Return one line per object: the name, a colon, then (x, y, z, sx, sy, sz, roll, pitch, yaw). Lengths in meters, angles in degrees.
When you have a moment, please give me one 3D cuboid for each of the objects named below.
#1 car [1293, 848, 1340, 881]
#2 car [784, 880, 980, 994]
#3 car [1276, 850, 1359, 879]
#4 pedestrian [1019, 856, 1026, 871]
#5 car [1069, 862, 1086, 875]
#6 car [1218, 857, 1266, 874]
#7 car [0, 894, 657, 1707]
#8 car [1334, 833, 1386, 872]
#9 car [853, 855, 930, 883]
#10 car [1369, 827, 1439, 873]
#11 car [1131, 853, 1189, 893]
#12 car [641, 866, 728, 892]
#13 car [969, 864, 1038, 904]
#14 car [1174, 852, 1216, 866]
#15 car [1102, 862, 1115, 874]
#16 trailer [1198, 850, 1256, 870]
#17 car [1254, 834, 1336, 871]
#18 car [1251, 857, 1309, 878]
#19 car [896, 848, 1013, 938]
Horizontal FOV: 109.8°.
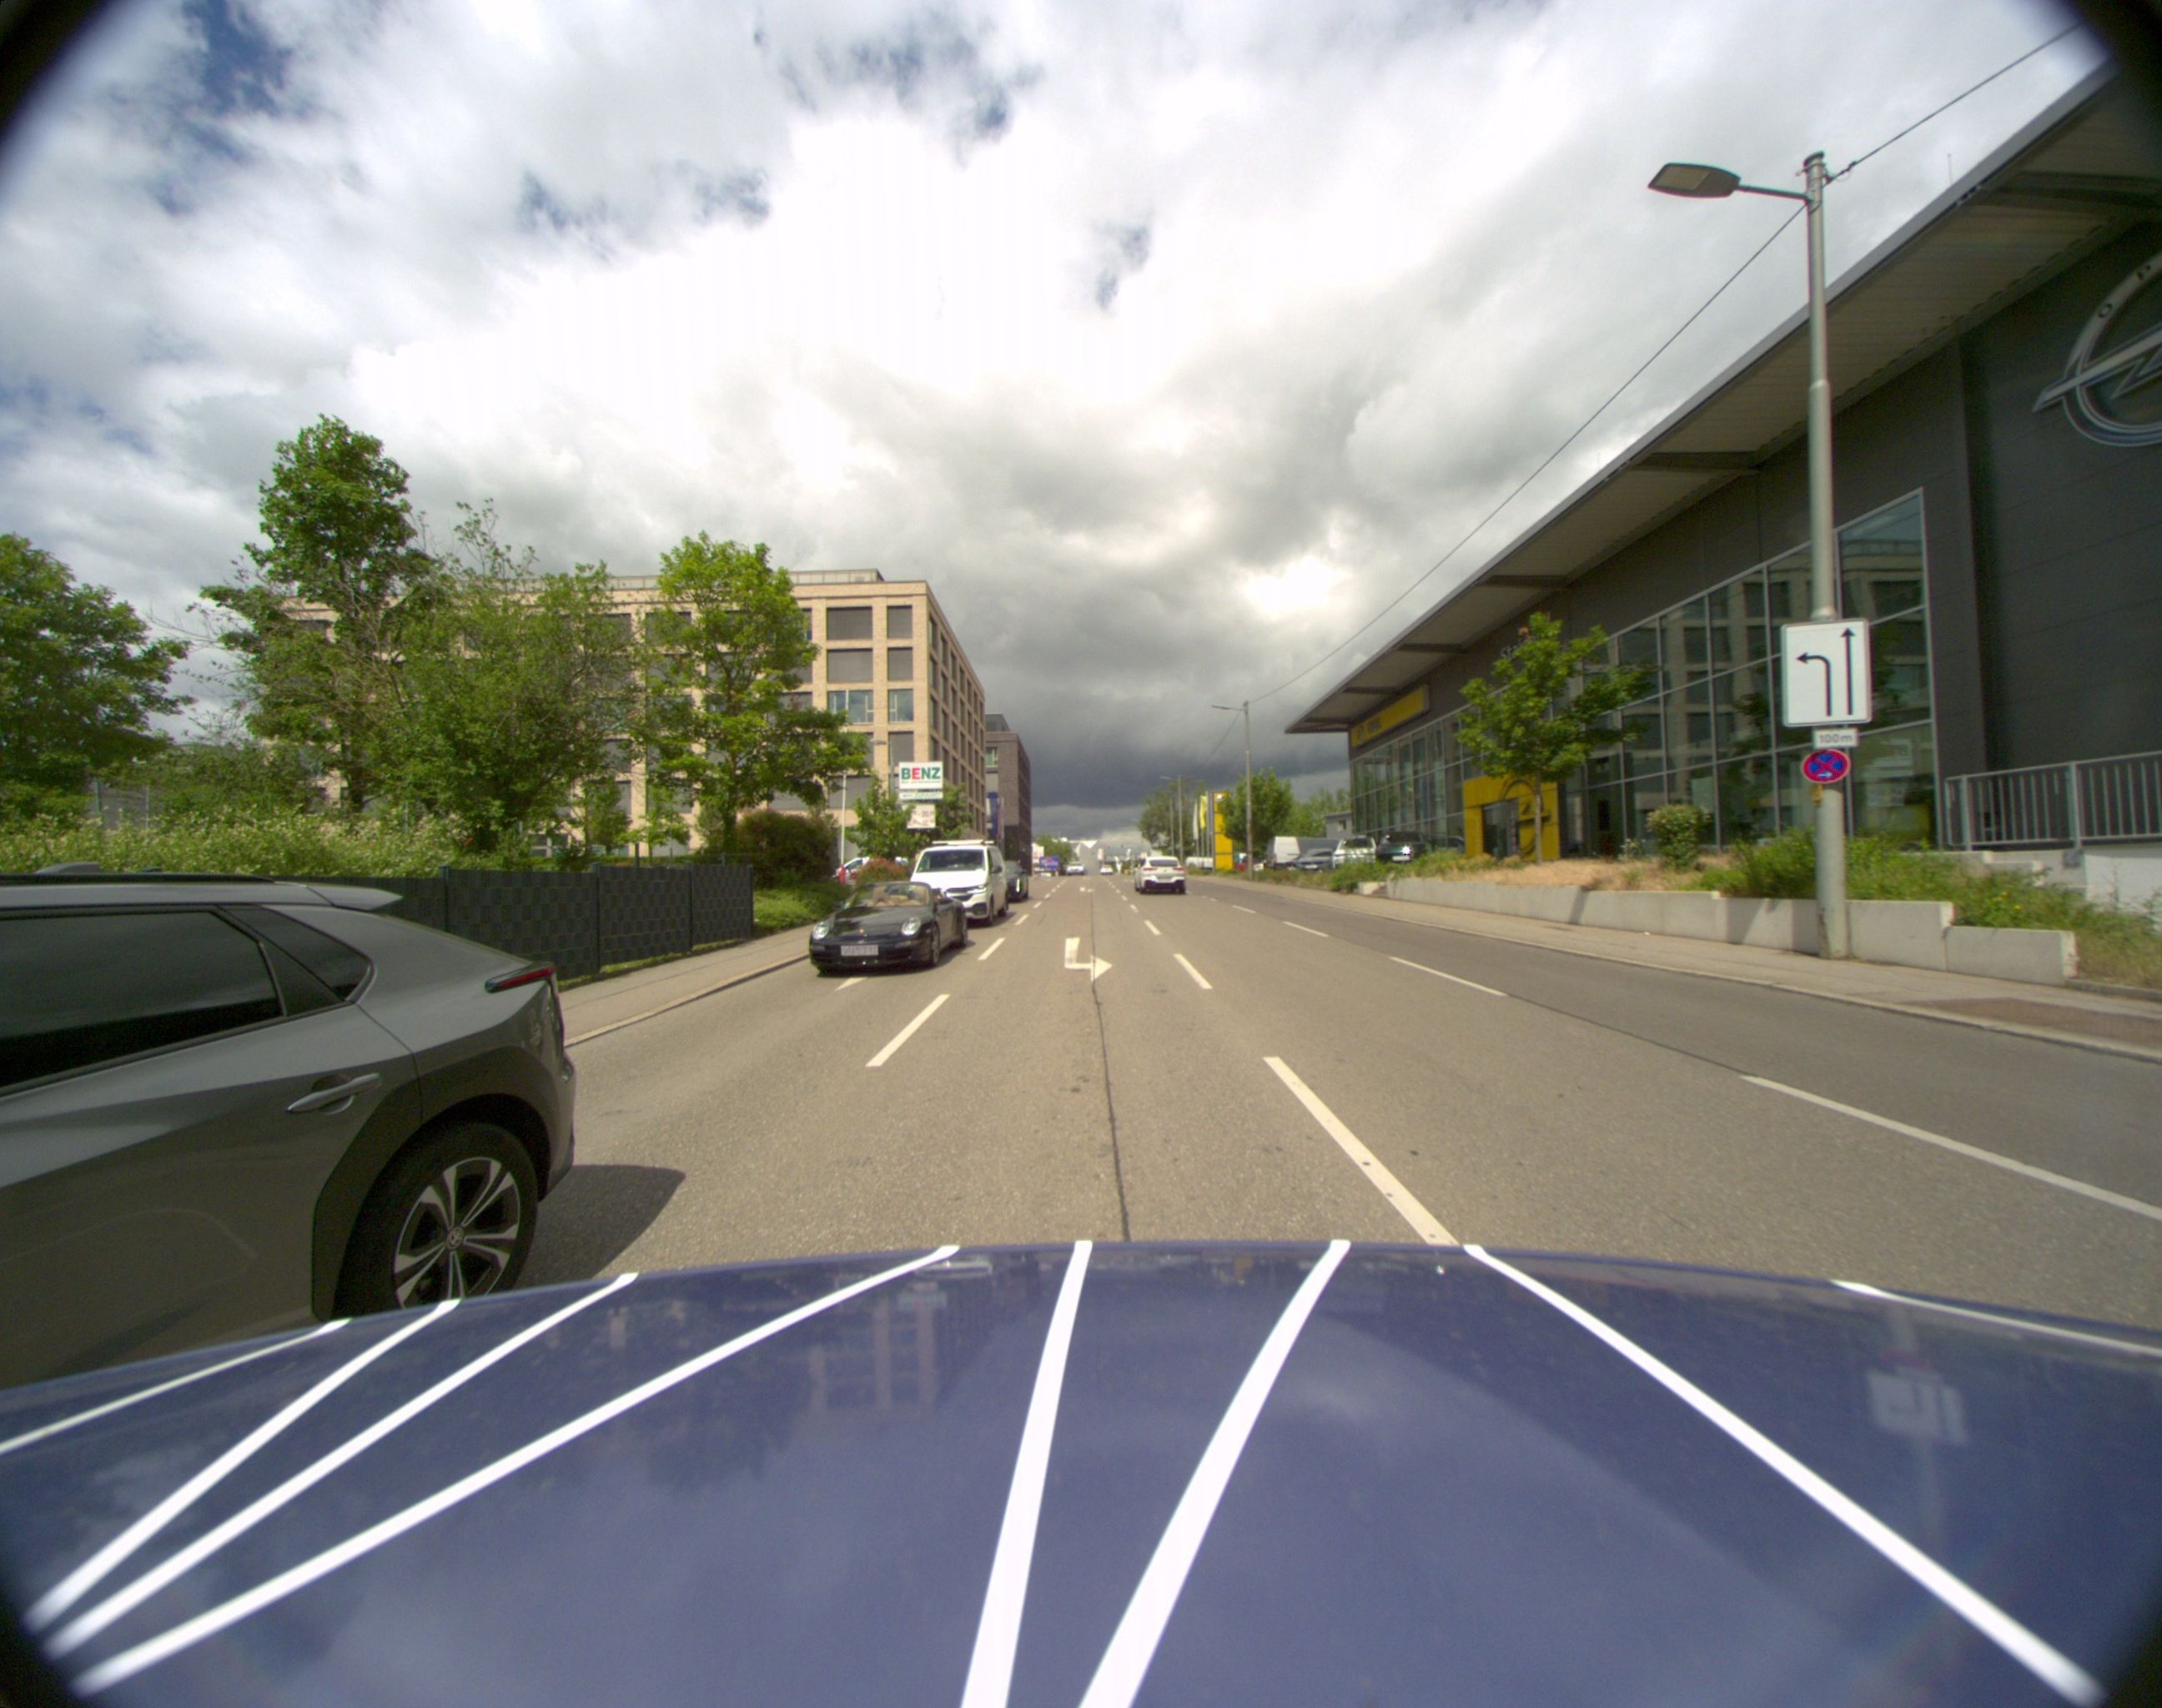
car: (12.175, 0.519, 39.088, 1.794, 1.604, 4.116, -1, 0, 24)
car: (-2.909, 1.163, 12.220, 1.777, 1.267, 4.569, -3, 0, 2)
car: (13.334, 0.579, 43.007, 4.108, 1.604, 1.797, -1, 0, -8)
pedestrian: (-5.922, 0.968, 76.679, 0.578, 1.497, 0.542, -1, 1, 1)
car: (-0.365, 1.633, 86.750, 1.866, 1.398, 4.000, -1, 0, 1)
car: (13.704, 0.989, 64.790, 3.669, 1.401, 1.815, -1, 0, 2)
car: (-2.993, 1.023, 1.179, 1.924, 1.604, 4.683, -3, 0, 1)
car: (12.373, -0.082, 33.568, 1.793, 1.604, 4.115, -1, 1, 25)
car: (-11.330, 0.891, 45.585, 4.220, 1.567, 1.735, -1, 0, -4)
car: (12.257, -0.166, 28.717, 1.817, 1.604, 4.116, -2, 0, 31)
car: (3.263, 0.749, 32.038, 1.832, 1.543, 4.305, -1, 0, -2)
car: (-23.379, 1.466, 44.888, 4.219, 1.410, 1.735, -1, 0, -1)
car: (-2.777, 1.051, 28.191, 1.777, 1.267, 4.569, -1, 0, 4)
car: (12.635, 0.524, 84.424, 4.252, 1.473, 2.095, -1, 0, -2)
car: (4.200, 2.123, 116.769, 1.924, 1.604, 4.415, -1, 1, 0)
trailer: (13.163, 0.513, 68.677, 4.835, 1.742, 2.095, -1, 0, -3)
car: (13.400, -0.098, 47.824, 4.532, 2.182, 2.179, -1, 1, -1)
car: (14.960, 1.029, 57.280, 3.946, 1.518, 1.561, -1, 0, -2)
car: (-2.938, 0.851, 18.691, 1.964, 1.840, 4.645, -3, 0, 1)
